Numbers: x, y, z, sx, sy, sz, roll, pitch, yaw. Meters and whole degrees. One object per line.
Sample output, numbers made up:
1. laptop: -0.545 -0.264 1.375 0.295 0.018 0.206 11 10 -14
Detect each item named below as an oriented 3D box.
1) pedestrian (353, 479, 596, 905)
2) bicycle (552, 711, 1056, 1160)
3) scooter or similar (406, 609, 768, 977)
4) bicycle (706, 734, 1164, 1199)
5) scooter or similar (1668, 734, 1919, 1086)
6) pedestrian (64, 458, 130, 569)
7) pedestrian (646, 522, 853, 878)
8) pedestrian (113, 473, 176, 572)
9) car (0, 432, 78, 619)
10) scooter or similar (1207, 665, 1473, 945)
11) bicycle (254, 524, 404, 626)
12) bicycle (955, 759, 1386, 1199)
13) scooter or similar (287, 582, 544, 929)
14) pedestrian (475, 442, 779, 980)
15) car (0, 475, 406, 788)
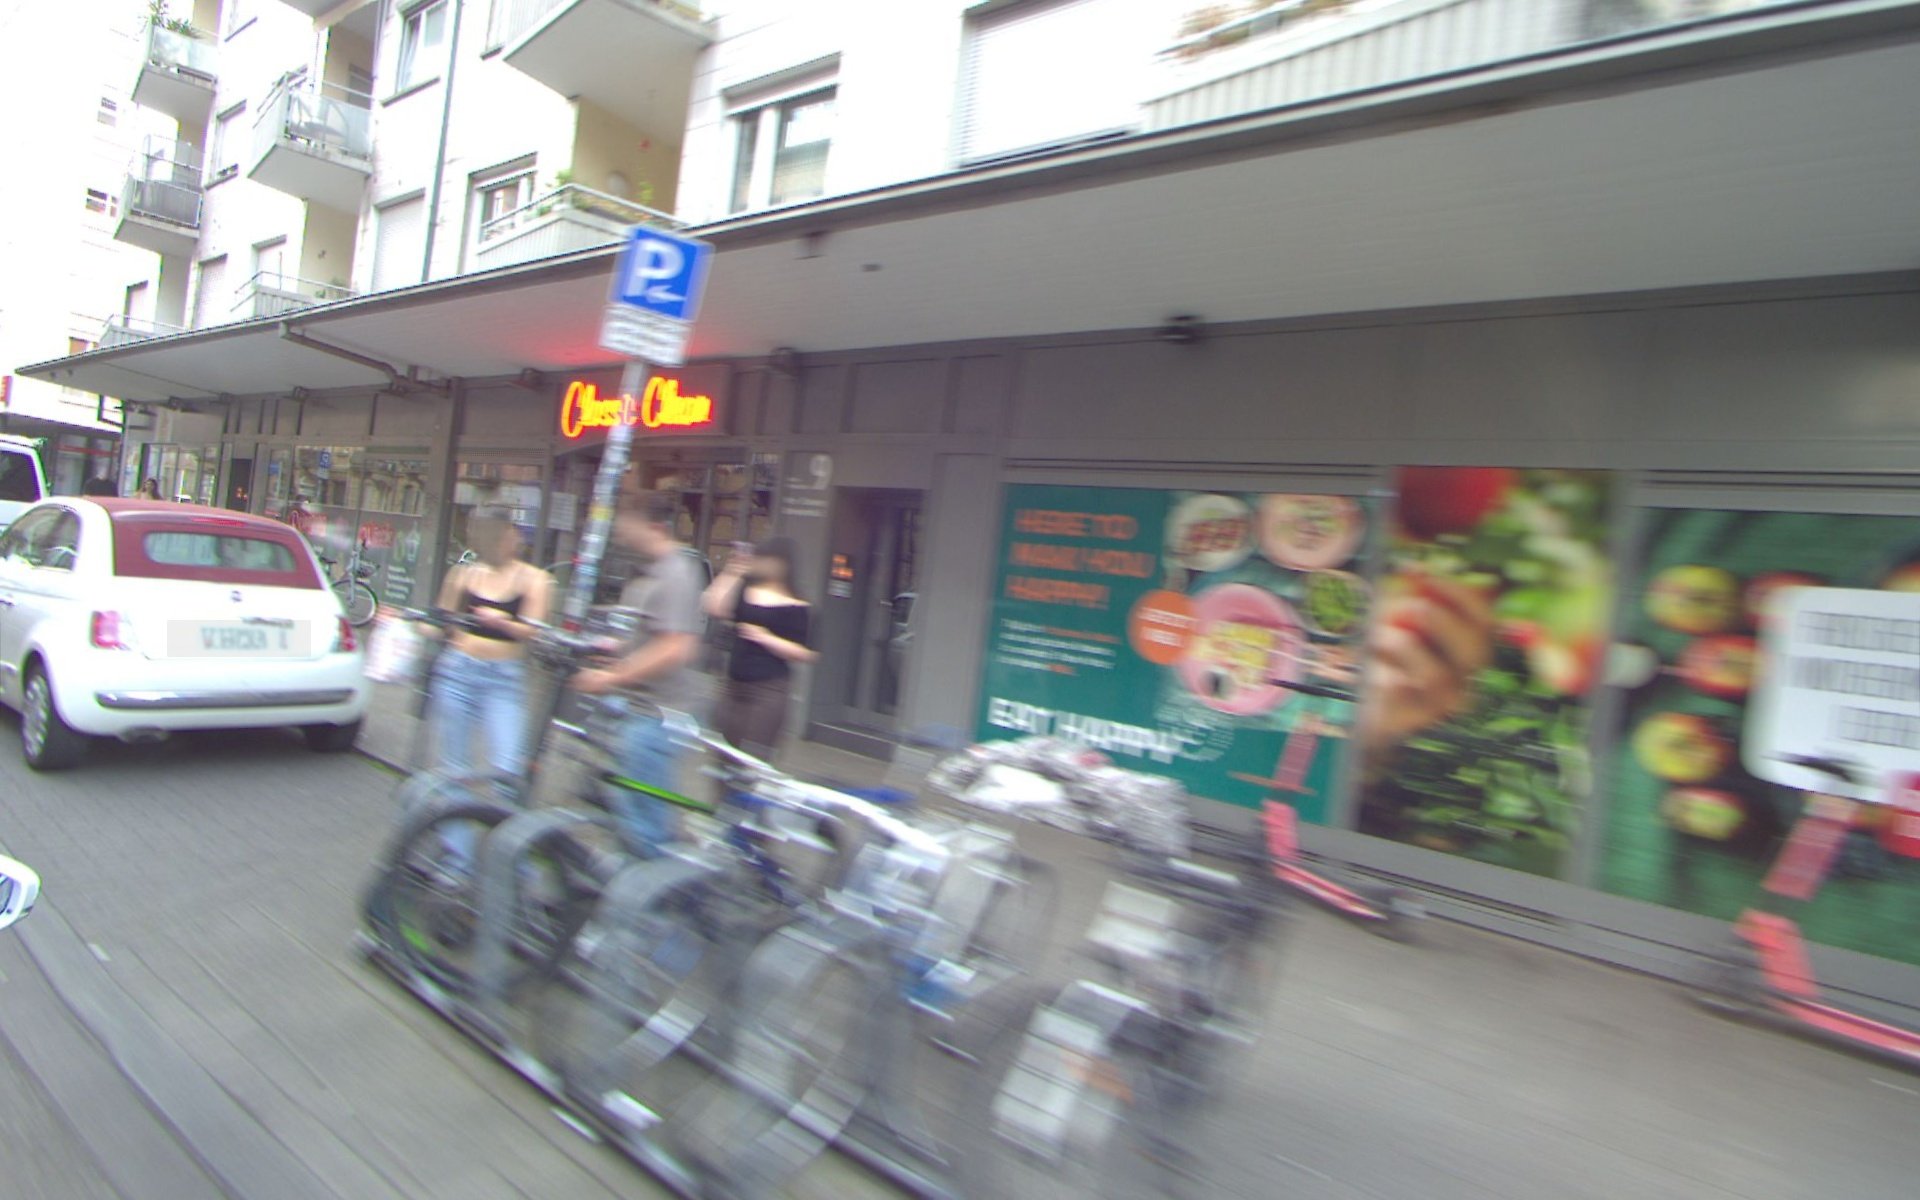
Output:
1. pedestrian: -2.026 0.366 4.271 0.581 1.620 0.647 6 2 -2
2. bicycle: -0.402 0.891 3.142 0.504 1.015 1.475 7 1 44
3. scooter or similar: -1.430 0.688 4.017 0.528 1.186 1.161 10 2 31
4. bicycle: 0.024 0.959 2.909 0.503 0.996 1.417 6 1 35
5. scooter or similar: 3.928 1.283 4.049 0.476 1.233 1.603 6 0 -45
6. pedestrian: -15.429 -1.539 17.978 0.849 1.851 0.707 7 1 43
7. pedestrian: -1.068 0.482 5.187 0.713 1.653 0.562 7 2 12
8. pedestrian: -14.876 -1.407 18.357 0.735 1.687 0.707 7 1 43
9. car: -12.571 -1.100 12.148 4.927 1.999 1.957 8 2 38
10. scooter or similar: 2.000 1.048 5.437 0.530 1.218 1.156 7 1 -25
11. bicycle: -8.683 -0.337 13.840 1.680 1.211 0.912 7 2 24
12. bicycle: 0.665 1.031 2.719 0.503 1.014 1.547 6 1 35
13. scooter or similar: -2.210 0.569 4.225 0.528 1.186 1.160 8 2 -12
14. pedestrian: -1.258 0.362 3.785 0.728 1.779 0.659 8 2 43
15. car: -5.345 0.058 6.631 3.370 1.520 1.592 7 2 36
